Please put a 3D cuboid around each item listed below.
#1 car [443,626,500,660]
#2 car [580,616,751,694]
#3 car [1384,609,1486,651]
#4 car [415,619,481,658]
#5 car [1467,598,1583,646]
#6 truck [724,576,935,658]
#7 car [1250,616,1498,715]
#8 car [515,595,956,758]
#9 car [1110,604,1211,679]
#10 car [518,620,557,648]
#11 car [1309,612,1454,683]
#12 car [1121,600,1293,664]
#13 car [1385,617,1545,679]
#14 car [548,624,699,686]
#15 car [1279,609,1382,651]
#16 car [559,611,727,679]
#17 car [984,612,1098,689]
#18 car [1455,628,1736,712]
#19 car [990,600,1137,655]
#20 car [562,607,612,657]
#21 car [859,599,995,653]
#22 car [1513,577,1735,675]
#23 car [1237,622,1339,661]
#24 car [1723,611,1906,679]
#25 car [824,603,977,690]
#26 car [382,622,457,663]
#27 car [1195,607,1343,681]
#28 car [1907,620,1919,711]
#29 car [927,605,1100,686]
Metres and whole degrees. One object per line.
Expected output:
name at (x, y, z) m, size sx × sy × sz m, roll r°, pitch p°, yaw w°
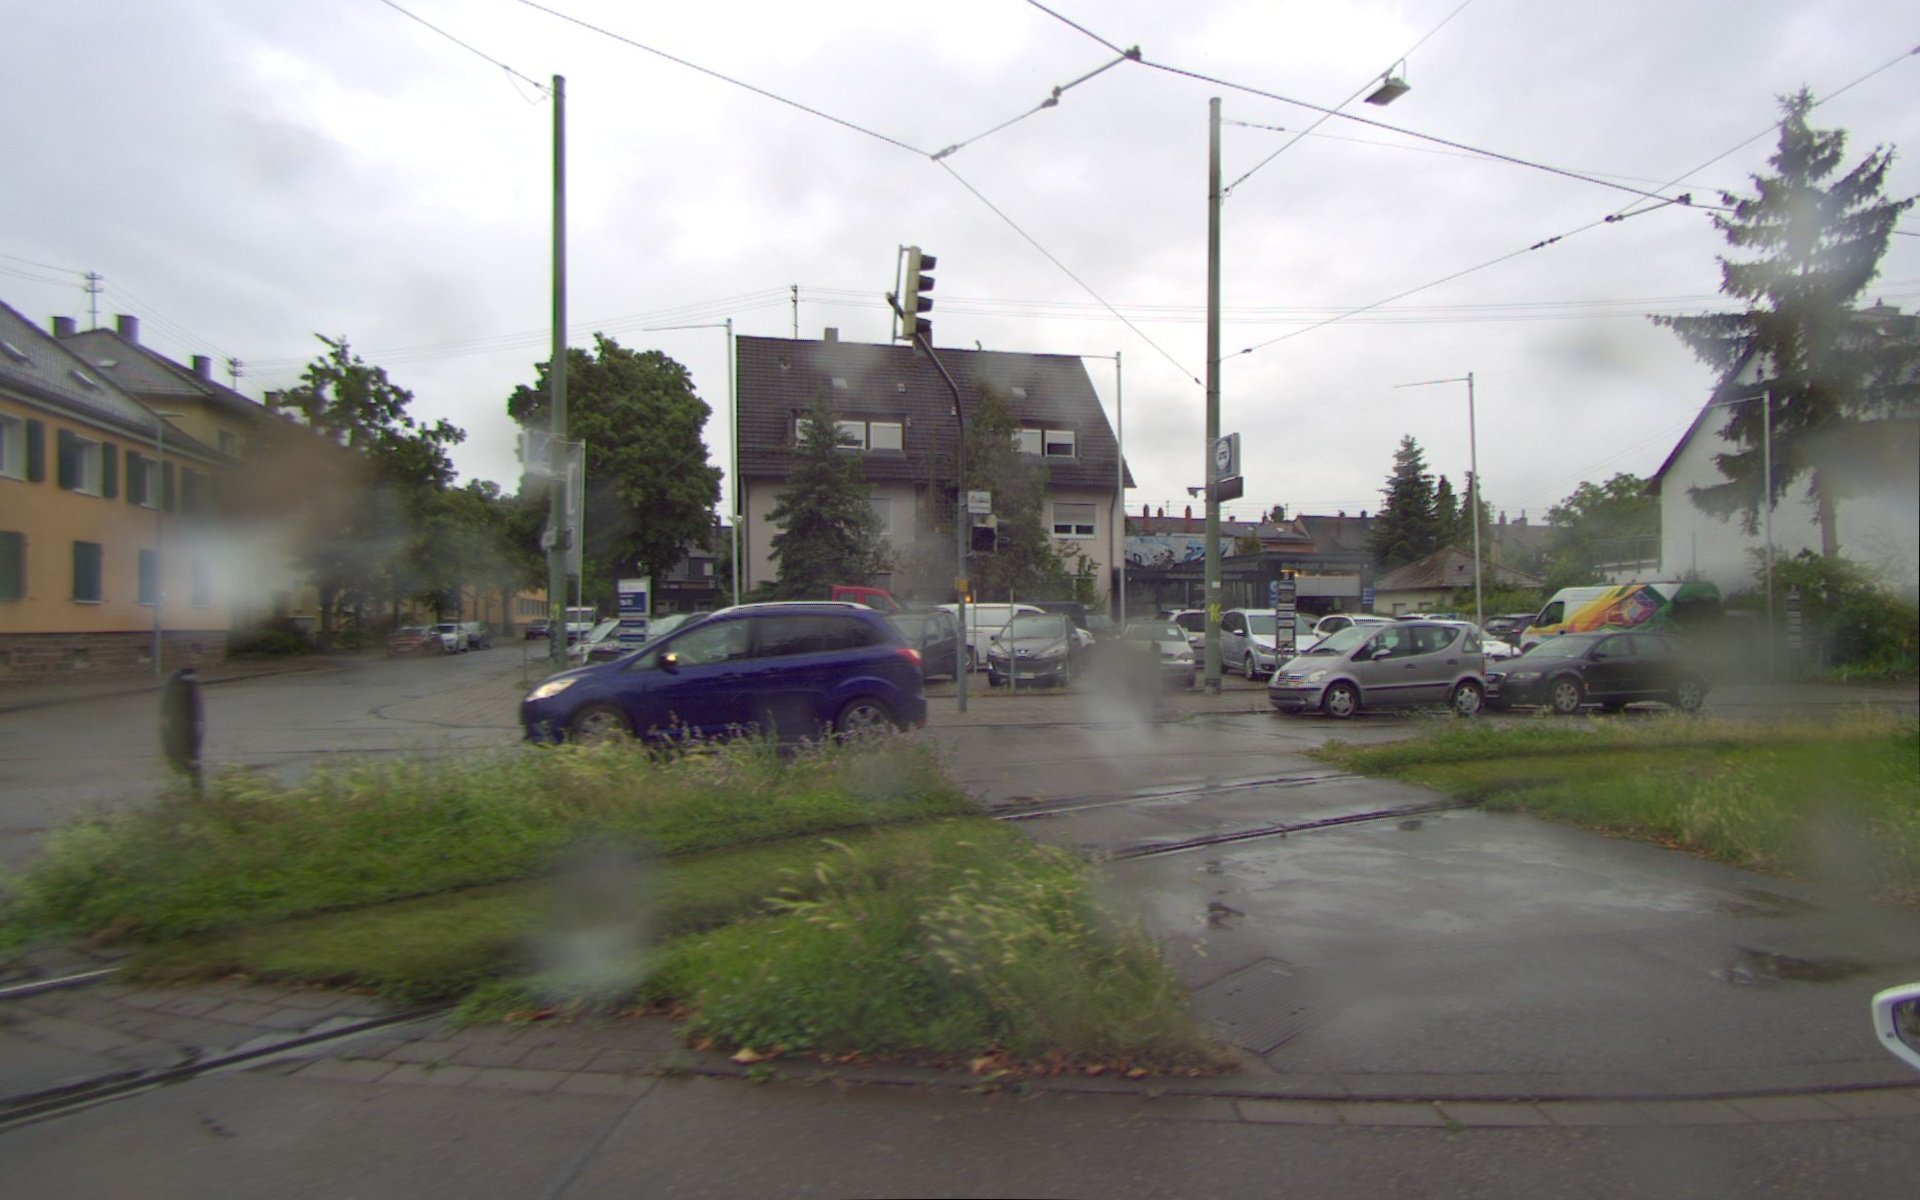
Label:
car at (-26.082, 2.281, 53.731) m, size 1.967 × 1.773 × 3.989 m, roll 0°, pitch -2°, yaw -15°
car at (-6.547, 1.190, 22.771) m, size 1.772 × 1.599 × 3.872 m, roll -1°, pitch -1°, yaw 20°
car at (19.325, 1.209, 40.808) m, size 4.402 × 1.601 × 1.777 m, roll 1°, pitch -2°, yaw -35°
car at (-24.167, 1.801, 47.548) m, size 1.967 × 1.773 × 3.989 m, roll 0°, pitch -2°, yaw -15°
car at (20.023, 0.795, 35.575) m, size 4.355 × 1.601 × 1.848 m, roll 1°, pitch -2°, yaw -35°
truck at (-3.887, 0.548, 30.332) m, size 5.979 × 2.302 × 2.002 m, roll -1°, pitch -2°, yaw 7°
car at (7.005, 1.103, 17.131) m, size 3.581 × 1.524 × 1.719 m, roll 2°, pitch -2°, yaw -13°
car at (-2.478, 0.869, 11.570) m, size 4.496 × 1.626 × 1.994 m, roll 2°, pitch -2°, yaw -15°
car at (4.525, 0.942, 23.178) m, size 1.796 × 1.524 × 4.061 m, roll 1°, pitch -2°, yaw 5°
car at (-32.008, 2.553, 76.203) m, size 1.966 × 2.040 × 3.990 m, roll 2°, pitch -2°, yaw -13°
car at (10.393, 1.155, 25.045) m, size 1.692 × 1.593 × 3.612 m, roll 2°, pitch -2°, yaw -9°
car at (6.962, 0.908, 28.480) m, size 4.368 × 1.709 × 1.757 m, roll 0°, pitch -2°, yaw -11°
car at (12.685, 1.183, 25.494) m, size 1.692 × 1.414 × 3.836 m, roll 2°, pitch -2°, yaw -9°
car at (-9.698, 1.534, 28.992) m, size 3.829 × 1.599 × 1.792 m, roll 0°, pitch -1°, yaw -33°
car at (14.301, 1.149, 38.962) m, size 1.757 × 1.518 × 3.988 m, roll 2°, pitch -2°, yaw -15°
car at (-8.158, 1.123, 25.931) m, size 3.829 × 1.599 × 1.792 m, roll 0°, pitch -1°, yaw -33°
car at (1.932, 1.102, 22.631) m, size 1.797 × 1.524 × 4.061 m, roll 1°, pitch -2°, yaw 15°
car at (11.387, 1.245, 18.086) m, size 4.312 × 1.356 × 1.719 m, roll 2°, pitch -2°, yaw -12°
car at (3.327, 0.893, 32.711) m, size 4.368 × 1.709 × 1.997 m, roll 0°, pitch -2°, yaw -11°
car at (-20.701, 1.762, 55.932) m, size 2.124 × 2.606 × 4.121 m, roll 2°, pitch -2°, yaw -15°
car at (-1.152, 0.884, 34.010) m, size 4.368 × 1.709 × 1.997 m, roll 0°, pitch -2°, yaw -11°
car at (18.321, 0.741, 28.077) m, size 2.115 × 2.437 × 5.137 m, roll 2°, pitch -2°, yaw -13°
car at (12.289, 1.527, 37.914) m, size 1.731 × 1.349 × 3.988 m, roll 2°, pitch -2°, yaw -15°
car at (23.866, 1.212, 28.123) m, size 3.828 × 1.585 × 1.995 m, roll -3°, pitch 0°, yaw -13°
car at (-1.207, 0.989, 22.301) m, size 1.961 × 1.739 × 4.000 m, roll -1°, pitch -1°, yaw 20°
car at (-23.109, 1.800, 43.099) m, size 1.967 × 1.639 × 3.989 m, roll 0°, pitch -2°, yaw -15°
car at (7.292, 1.010, 24.097) m, size 1.776 × 1.599 × 3.864 m, roll -1°, pitch -1°, yaw -11°
car at (17.811, 1.126, 16.210) m, size 3.930 × 1.505 × 1.739 m, roll 2°, pitch -2°, yaw -12°
car at (1.415, 1.219, 27.403) m, size 4.368 × 2.040 × 1.997 m, roll 0°, pitch -2°, yaw -11°
